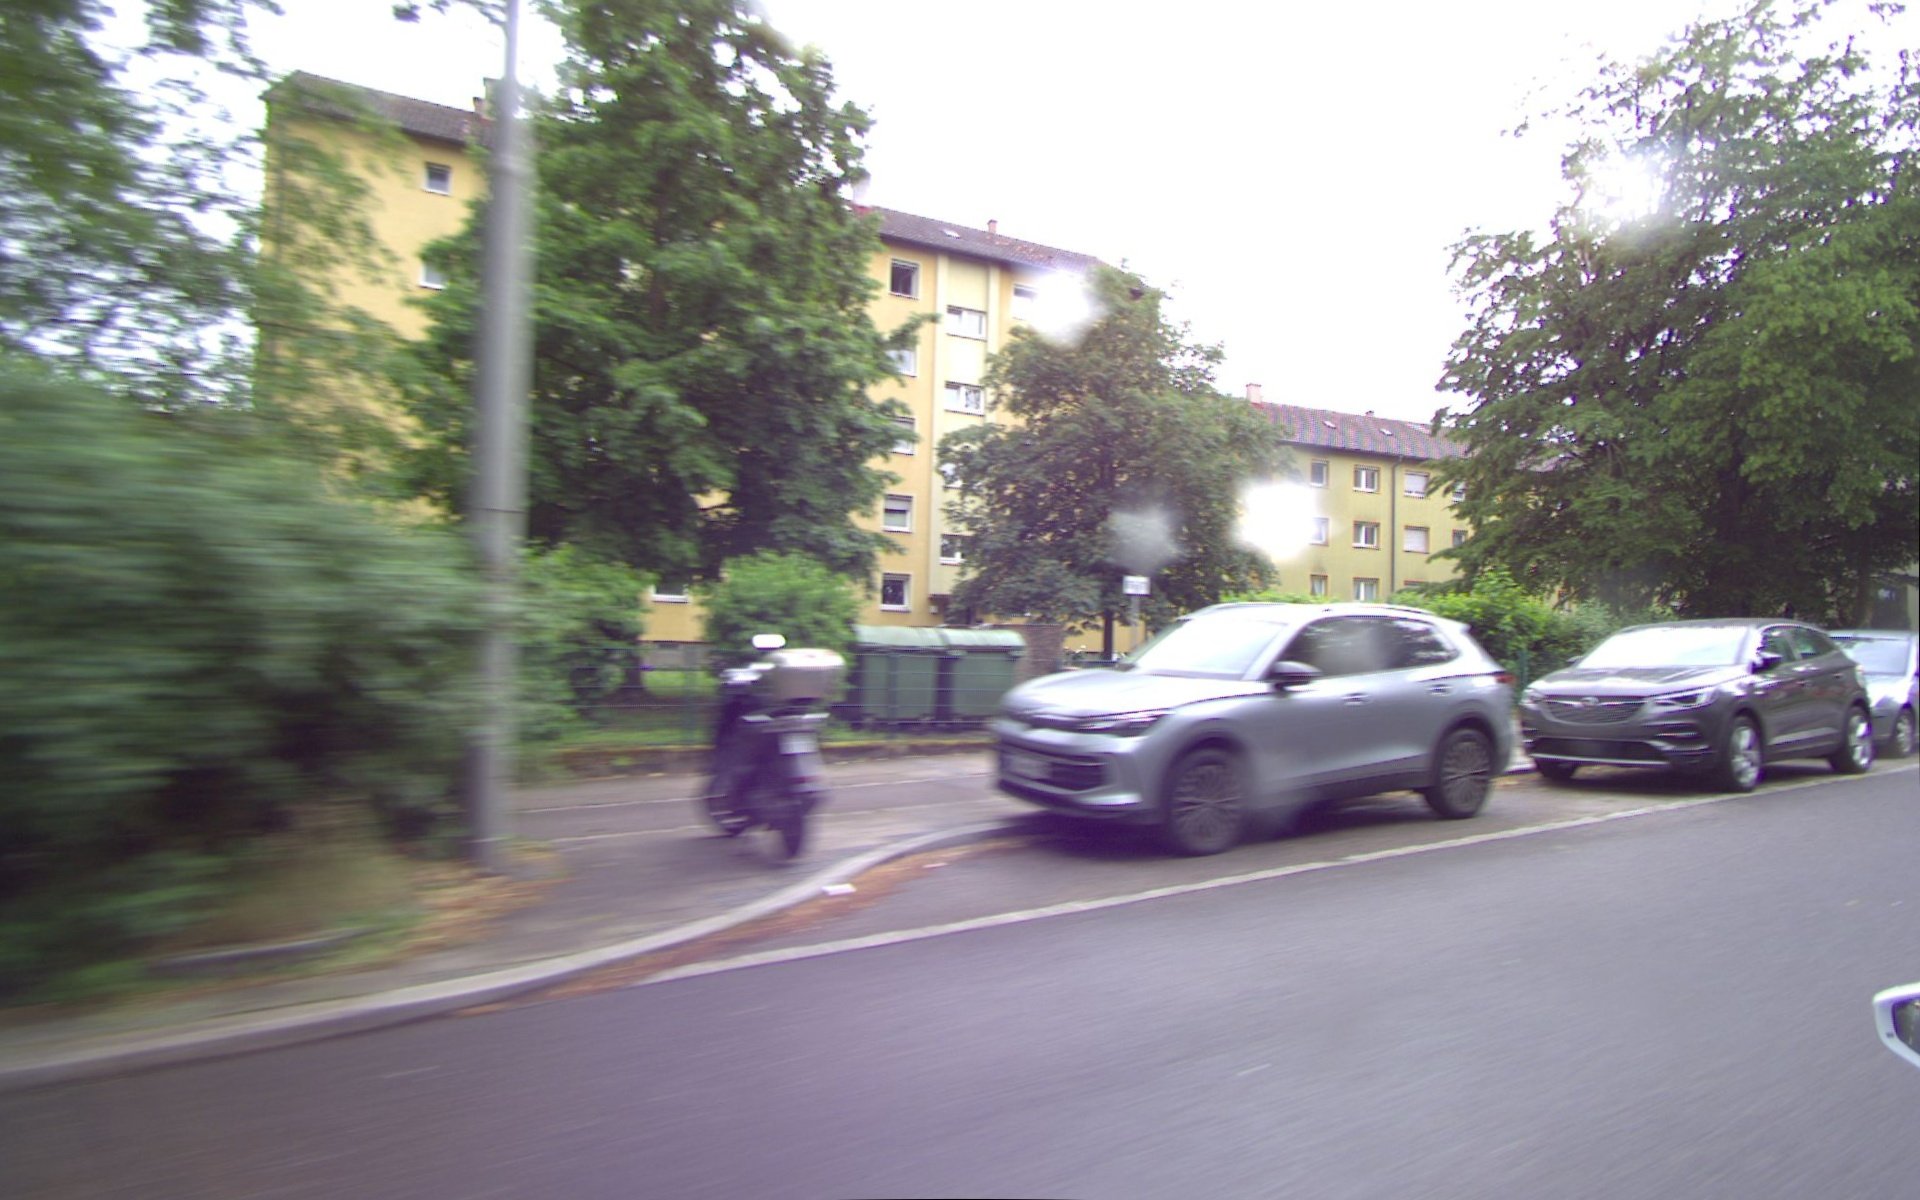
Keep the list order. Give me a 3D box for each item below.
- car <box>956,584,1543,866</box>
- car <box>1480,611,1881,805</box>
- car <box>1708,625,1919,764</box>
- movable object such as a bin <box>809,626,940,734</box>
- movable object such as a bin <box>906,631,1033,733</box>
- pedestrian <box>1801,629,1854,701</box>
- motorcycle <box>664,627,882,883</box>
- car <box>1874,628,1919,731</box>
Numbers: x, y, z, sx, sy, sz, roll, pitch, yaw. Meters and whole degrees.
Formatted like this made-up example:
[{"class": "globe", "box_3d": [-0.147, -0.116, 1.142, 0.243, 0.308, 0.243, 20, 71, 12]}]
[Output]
[{"class": "car", "box_3d": [2.362, 0.837, 7.889, 4.509, 1.678, 1.727, 1, -5, -30]}, {"class": "car", "box_3d": [7.429, 0.993, 10.272, 4.192, 1.612, 1.855, 1, -4, -32]}, {"class": "car", "box_3d": [11.739, 1.132, 13.087, 4.073, 1.528, 1.665, 1, 0, -29]}, {"class": "movable object such as a bin", "box_3d": [-1.204, 1.078, 13.994, 1.461, 1.398, 1.231, 1, -2, -28]}, {"class": "movable object such as a bin", "box_3d": [0.125, 1.158, 14.672, 1.461, 1.398, 1.231, 1, -2, -28]}, {"class": "pedestrian", "box_3d": [20.857, 1.557, 24.158, 1.009, 1.641, 0.584, 4, 0, -29]}, {"class": "motorcycle", "box_3d": [-1.233, 0.884, 6.262, 0.774, 1.332, 1.832, 1, -5, -30]}, {"class": "car", "box_3d": [16.137, 1.205, 15.670, 3.828, 1.527, 1.665, 1, -3, -30]}]
